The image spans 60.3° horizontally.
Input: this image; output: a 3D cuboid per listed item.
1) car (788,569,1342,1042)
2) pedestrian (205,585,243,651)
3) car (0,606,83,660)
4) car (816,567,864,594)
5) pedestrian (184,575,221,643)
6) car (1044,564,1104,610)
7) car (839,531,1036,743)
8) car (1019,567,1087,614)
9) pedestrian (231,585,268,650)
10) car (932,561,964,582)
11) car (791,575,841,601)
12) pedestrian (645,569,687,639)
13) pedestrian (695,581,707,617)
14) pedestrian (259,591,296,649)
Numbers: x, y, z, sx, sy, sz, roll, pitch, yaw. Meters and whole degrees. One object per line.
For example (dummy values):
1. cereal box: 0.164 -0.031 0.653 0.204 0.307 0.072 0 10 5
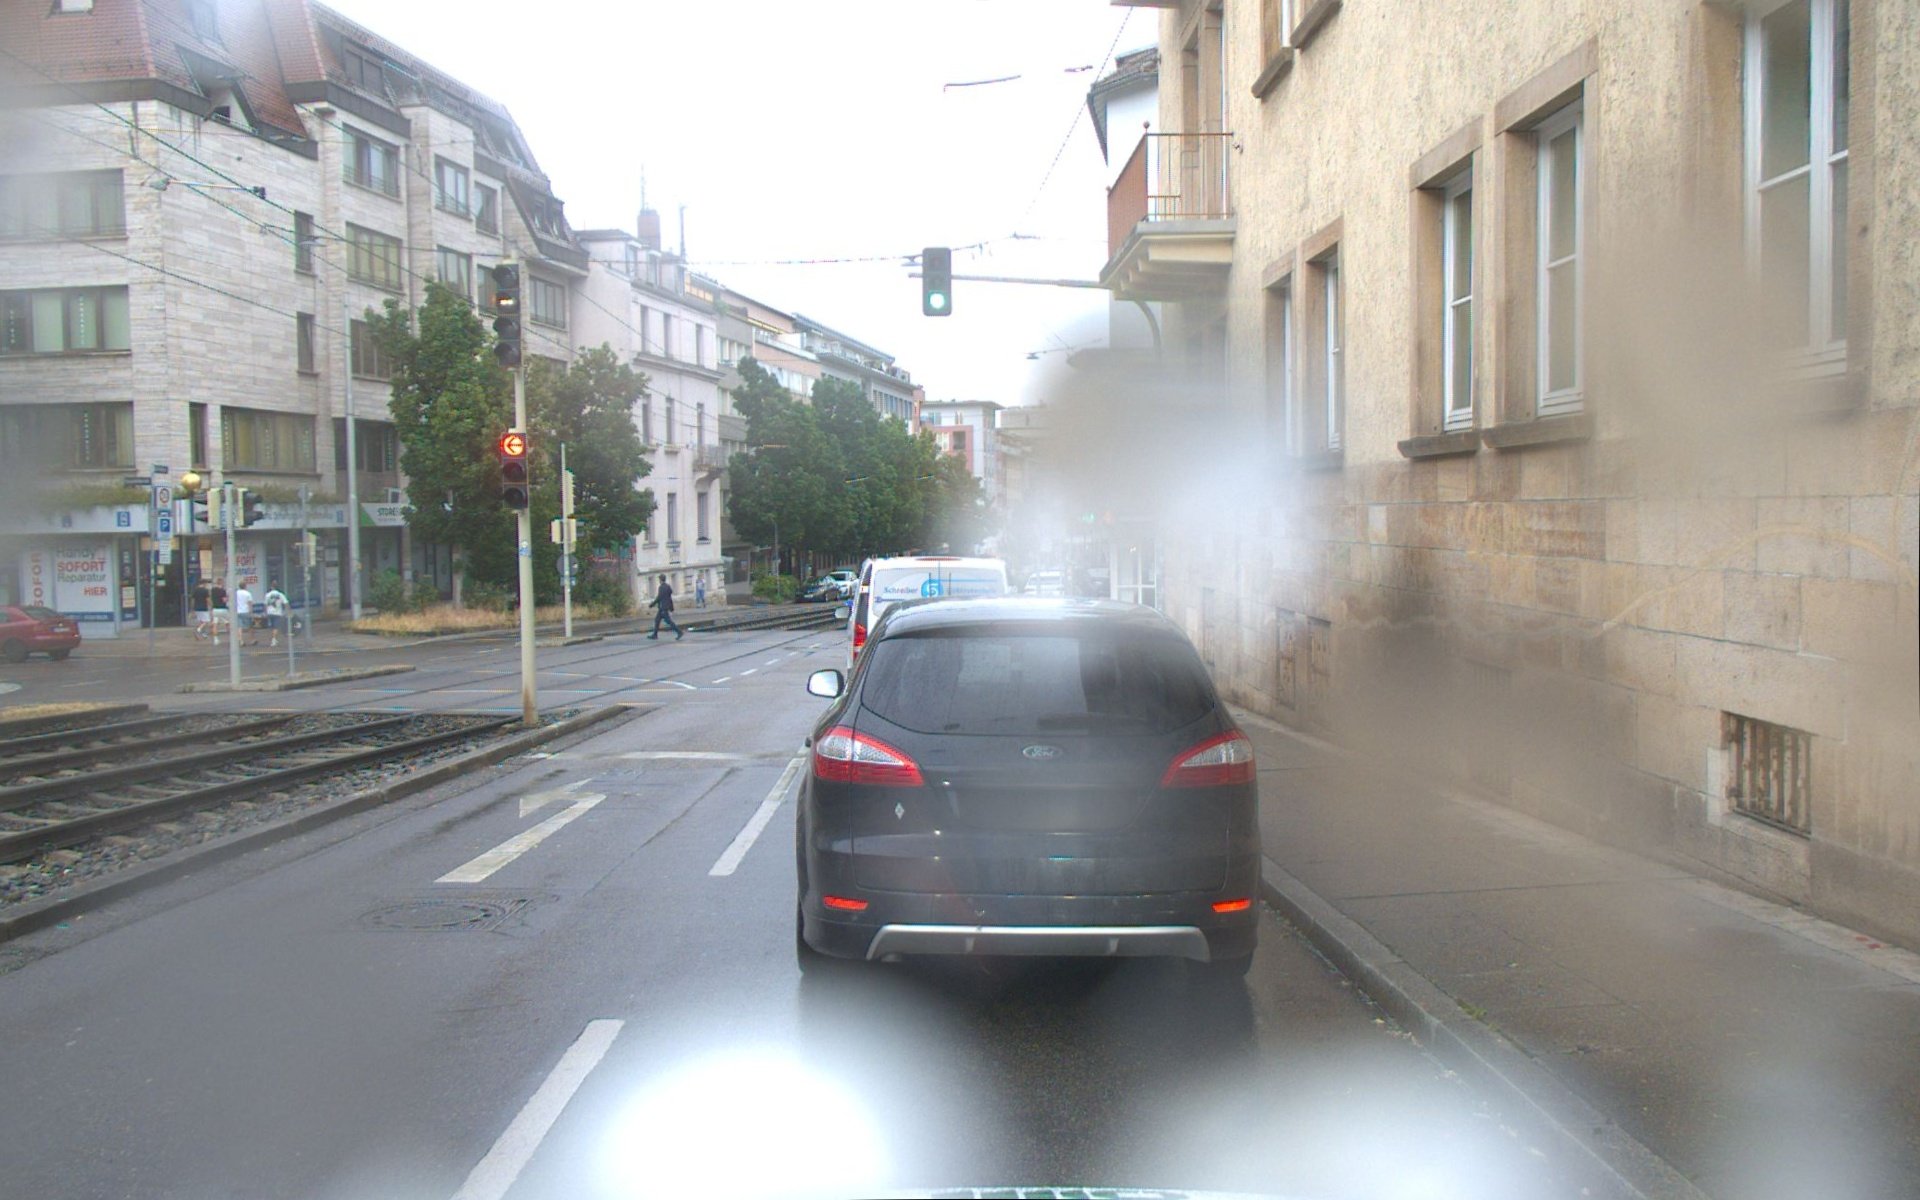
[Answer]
1. car: 0.315 0.680 7.435 1.805 1.533 3.999 1 0 -1
2. pedestrian: -20.221 0.494 45.452 0.634 1.780 0.684 1 0 7
3. car: -24.507 0.834 42.134 3.614 1.341 1.595 -1 0 10
4. car: -7.189 -1.131 99.526 1.816 1.575 4.725 0 0 9
5. pedestrian: -21.263 0.245 46.430 0.634 1.875 0.684 1 0 7
6. car: 4.360 -0.487 62.645 1.806 1.661 4.590 -1 0 9
7. car: -0.293 0.375 18.922 1.948 2.096 4.643 1 0 -2
8. car: 3.208 -0.323 56.007 1.763 1.481 4.590 -2 0 9
9. pedestrian: -19.463 0.467 45.303 0.634 1.754 0.684 1 0 7
10. car: -0.989 -2.393 139.384 1.816 1.665 4.939 0 0 9
11. car: -8.116 -0.642 93.575 1.657 1.402 4.724 0 0 9
12. pedestrian: -7.979 0.099 44.928 0.911 1.862 0.960 1 0 1
13. pedestrian: -12.228 -0.028 78.010 0.458 1.681 0.582 1 0 -3
14. pedestrian: -18.726 0.551 45.398 0.634 1.576 0.684 1 0 7
